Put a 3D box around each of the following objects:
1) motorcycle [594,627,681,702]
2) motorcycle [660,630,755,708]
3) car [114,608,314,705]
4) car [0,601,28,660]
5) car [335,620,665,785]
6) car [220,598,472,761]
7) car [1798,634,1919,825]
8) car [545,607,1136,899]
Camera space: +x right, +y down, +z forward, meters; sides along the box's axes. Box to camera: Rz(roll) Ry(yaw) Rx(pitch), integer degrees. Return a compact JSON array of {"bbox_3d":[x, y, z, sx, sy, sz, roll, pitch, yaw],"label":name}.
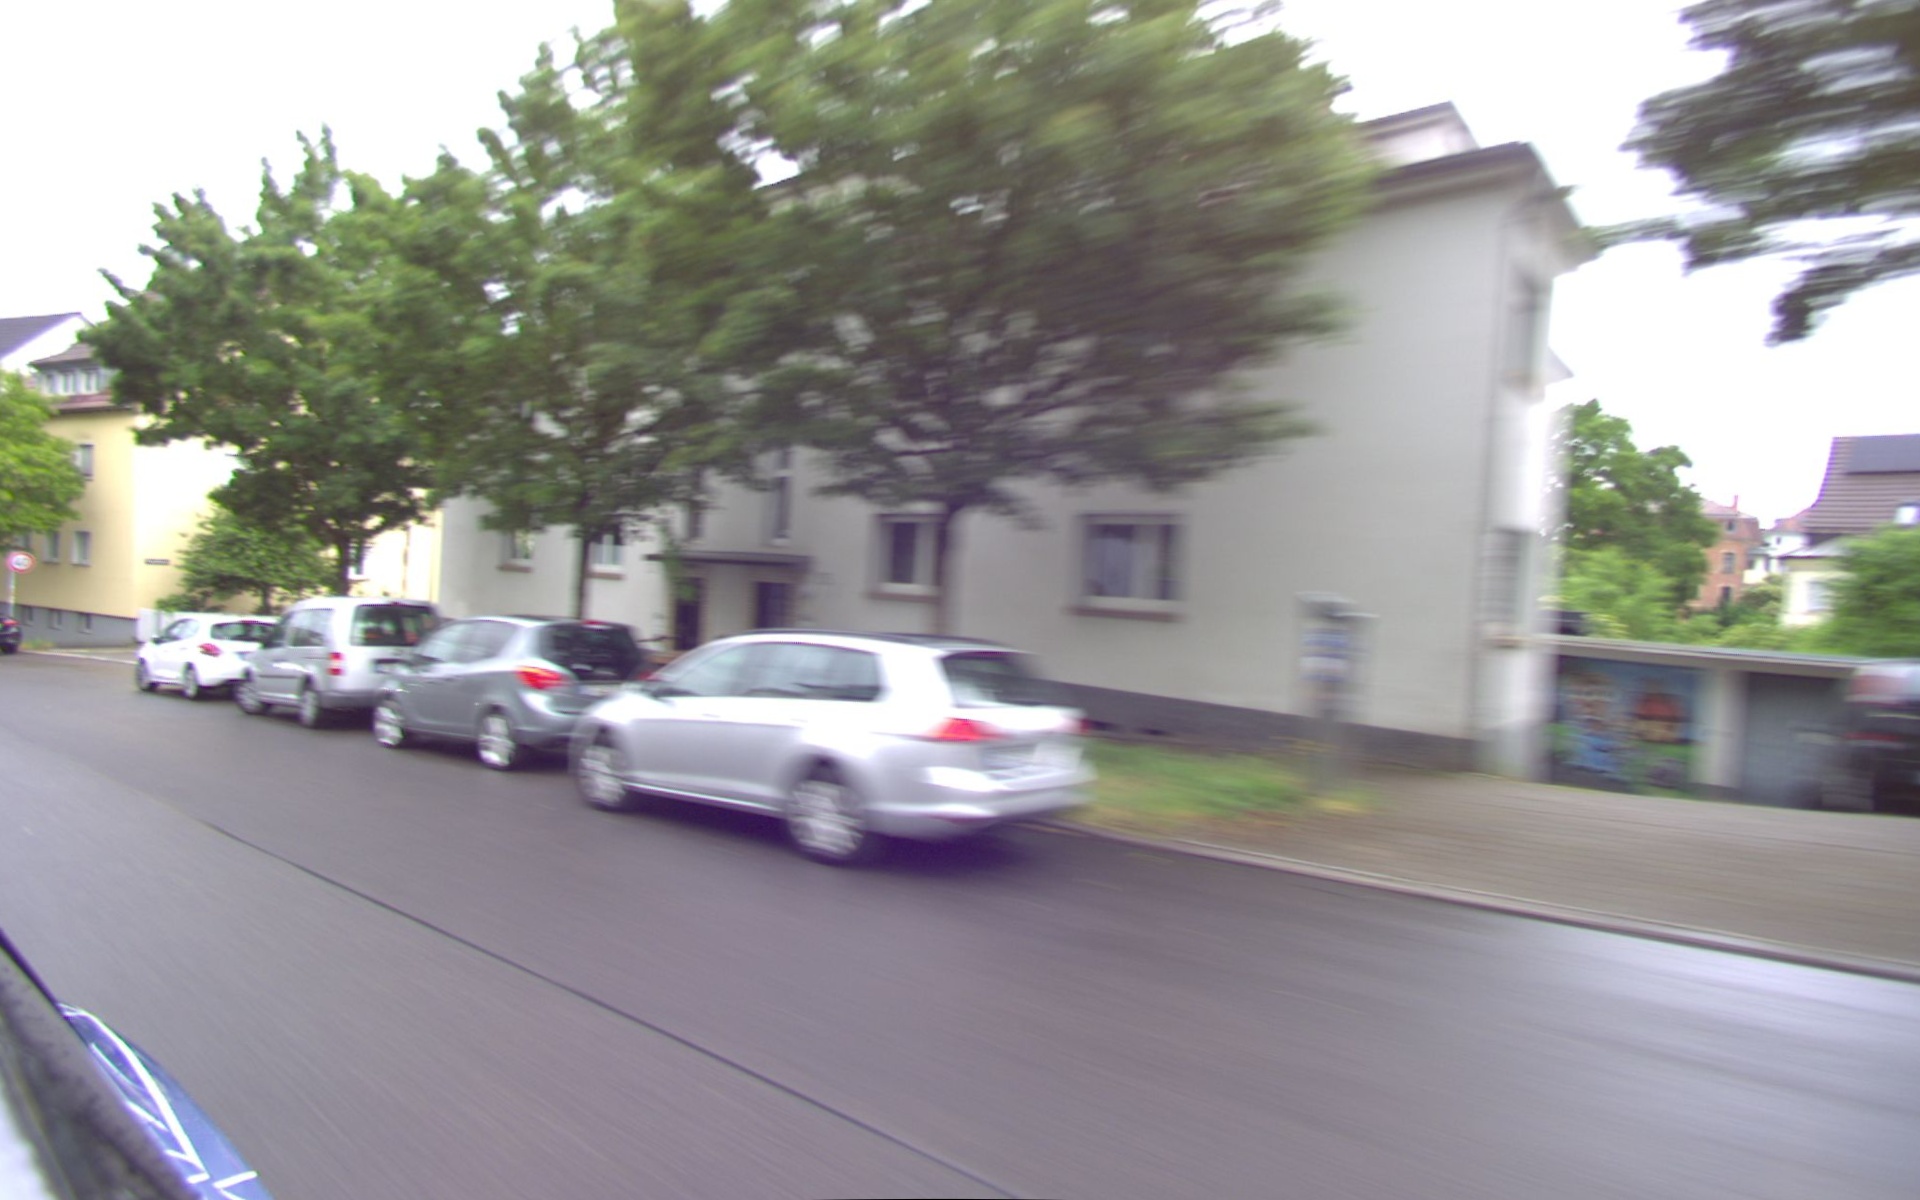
[{"bbox_3d":[-5.125,1.001,16.022,1.617,1.129,0.426,-1,-2,36],"label":"motorcycle"},{"bbox_3d":[-3.771,0.999,15.062,1.617,1.107,0.407,-1,-2,36],"label":"motorcycle"},{"bbox_3d":[-14.107,1.011,19.074,4.338,1.526,1.768,1,-2,36],"label":"car"},{"bbox_3d":[-27.543,0.832,27.482,4.492,1.552,1.766,0,1,26],"label":"car"},{"bbox_3d":[-5.534,1.077,11.962,4.231,1.497,1.787,1,-2,39],"label":"car"},{"bbox_3d":[-9.321,1.022,15.218,4.545,2.016,1.895,1,1,40],"label":"car"},{"bbox_3d":[9.778,1.412,10.061,1.793,1.555,3.663,-1,-11,34],"label":"car"},{"bbox_3d":[-1.131,0.846,7.662,4.593,1.464,1.787,1,1,40],"label":"car"}]
